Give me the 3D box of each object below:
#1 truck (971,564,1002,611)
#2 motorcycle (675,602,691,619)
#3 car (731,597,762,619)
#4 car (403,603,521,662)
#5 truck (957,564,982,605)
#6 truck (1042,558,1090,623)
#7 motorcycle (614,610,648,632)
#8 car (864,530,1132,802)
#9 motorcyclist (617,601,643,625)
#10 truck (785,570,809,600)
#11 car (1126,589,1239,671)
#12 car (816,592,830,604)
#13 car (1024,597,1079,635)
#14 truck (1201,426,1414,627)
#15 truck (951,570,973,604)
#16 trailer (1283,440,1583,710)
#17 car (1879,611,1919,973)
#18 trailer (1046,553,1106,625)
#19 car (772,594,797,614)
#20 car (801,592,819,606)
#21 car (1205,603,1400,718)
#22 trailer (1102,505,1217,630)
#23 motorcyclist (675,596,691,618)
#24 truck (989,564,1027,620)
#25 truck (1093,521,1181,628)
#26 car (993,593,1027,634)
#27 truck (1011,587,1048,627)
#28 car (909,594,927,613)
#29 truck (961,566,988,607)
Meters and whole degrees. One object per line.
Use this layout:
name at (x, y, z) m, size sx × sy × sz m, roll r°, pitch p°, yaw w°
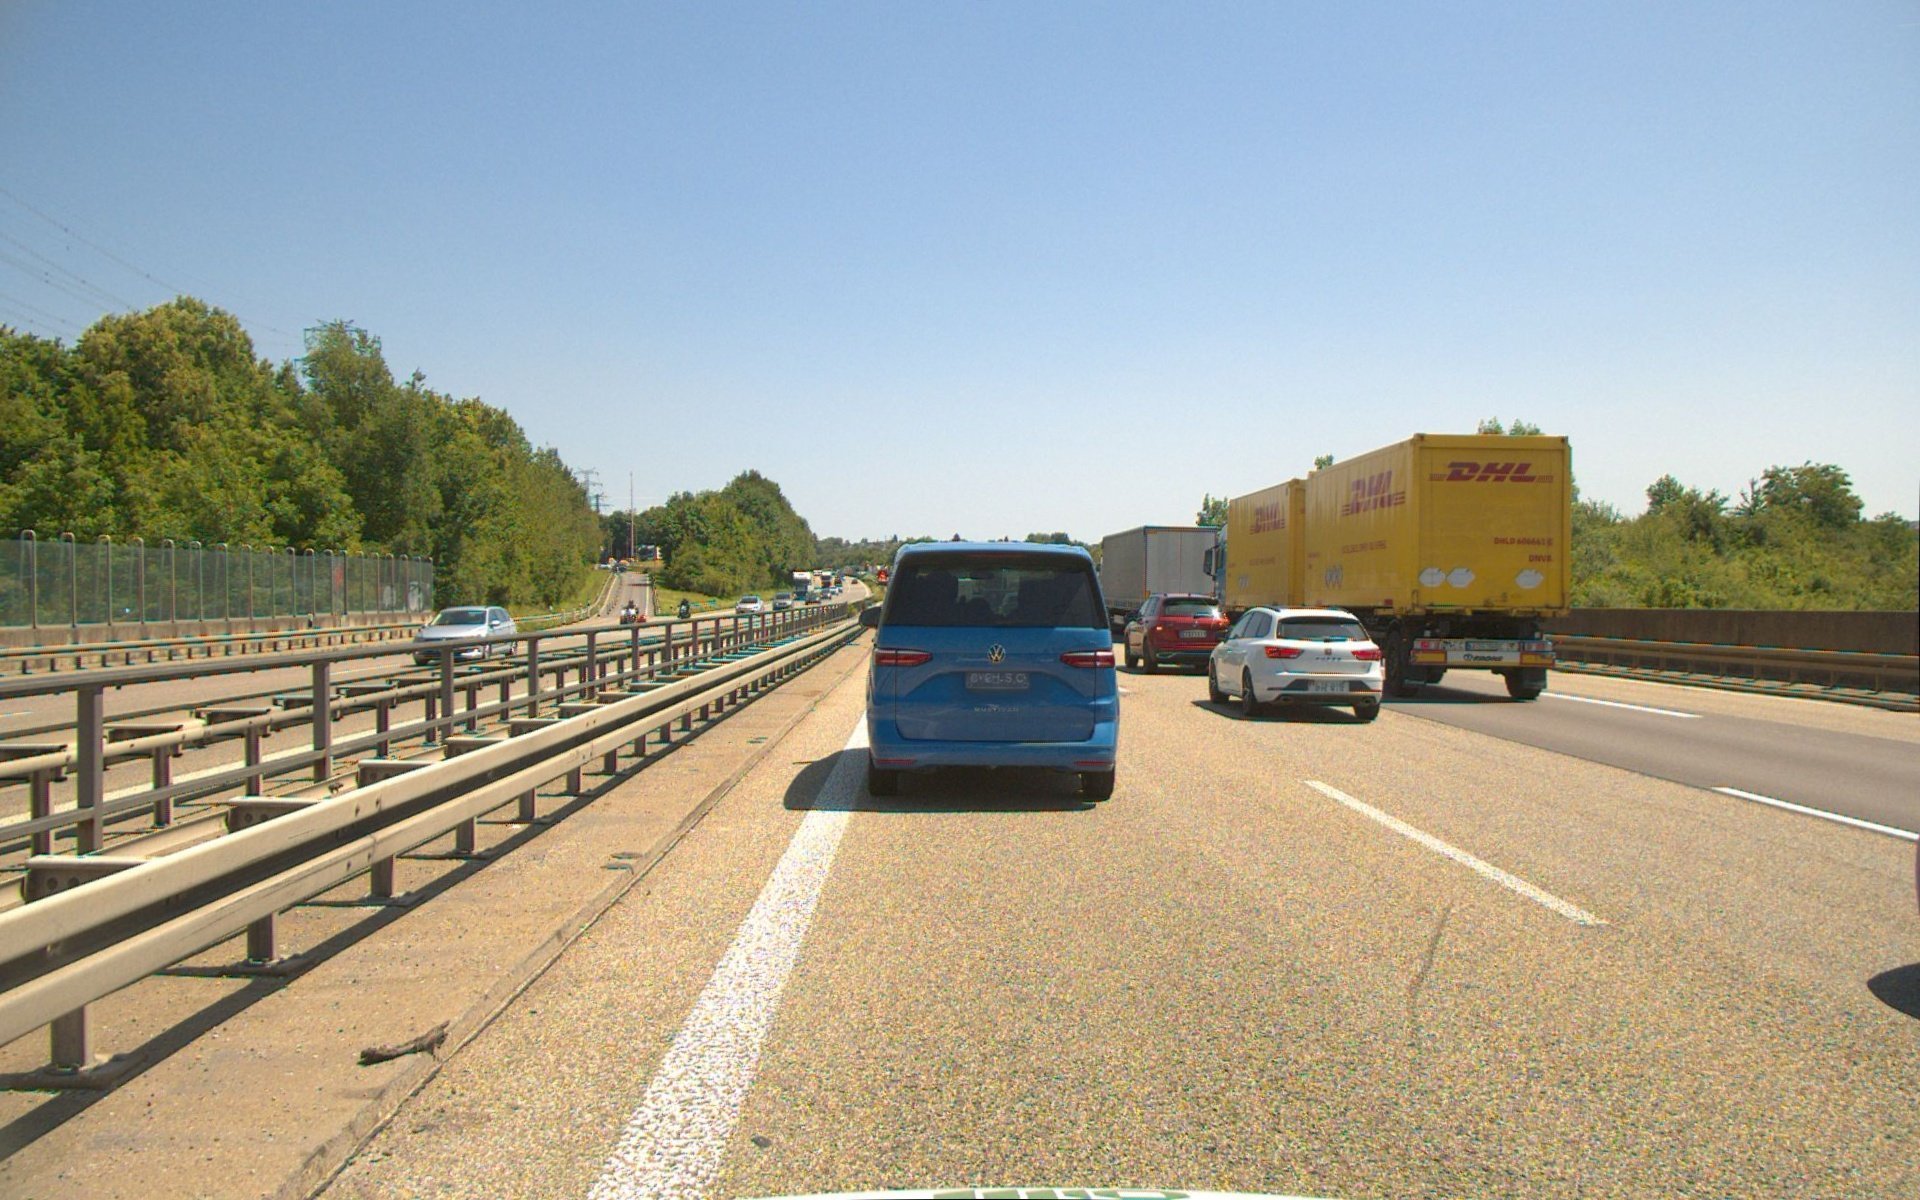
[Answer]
truck at (3.005, -1.381, 190.122) m, size 2.777 × 5.128 × 11.810 m, roll 1°, pitch -1°, yaw -2°
motorcycle at (-18.710, 0.678, 111.734) m, size 0.687 × 1.089 × 2.305 m, roll -1°, pitch 1°, yaw -1°
car at (-15.158, 0.596, 117.520) m, size 1.680 × 1.459 × 4.174 m, roll -2°, pitch 0°, yaw -1°
car at (-12.937, 0.840, 43.250) m, size 1.872 × 1.419 × 4.164 m, roll -1°, pitch -1°, yaw -1°
truck at (1.300, -2.076, 231.348) m, size 2.777 × 5.467 × 12.548 m, roll 1°, pitch -1°, yaw -2°
truck at (6.450, -0.515, 100.914) m, size 2.320 × 3.787 × 6.031 m, roll 1°, pitch -1°, yaw -1°
motorcycle at (-17.707, 1.113, 89.125) m, size 1.338 × 1.118 × 2.575 m, roll -2°, pitch 0°, yaw -1°
car at (0.241, 0.463, 13.500) m, size 1.844 × 1.869 × 3.999 m, roll 1°, pitch 0°, yaw -1°
motorcyclist at (-17.726, 0.697, 88.893) m, size 1.162 × 1.278 × 1.118 m, roll -2°, pitch 0°, yaw -1°
truck at (-24.416, -2.173, 247.535) m, size 2.929 × 4.354 × 7.186 m, roll -1°, pitch 0°, yaw -1°
car at (4.658, 0.609, 35.155) m, size 1.813 × 1.636 × 3.999 m, roll 0°, pitch 0°, yaw -1°
car at (-19.670, -0.284, 237.595) m, size 1.792 × 1.637 × 4.167 m, roll -1°, pitch 0°, yaw -1°
car at (3.606, 0.621, 65.906) m, size 1.801 × 1.438 × 3.998 m, roll 0°, pitch 0°, yaw -2°
truck at (8.010, -1.481, 39.682) m, size 2.667 × 4.125 × 10.333 m, roll 1°, pitch -1°, yaw -1°
truck at (0.226, -1.984, 255.010) m, size 2.777 × 5.128 × 12.906 m, roll -1°, pitch 0°, yaw -2°
trailer at (8.185, -0.338, 30.001) m, size 2.647 × 4.094 × 8.927 m, roll 1°, pitch -1°, yaw -1°
car at (4.762, 0.788, 4.766) m, size 1.675 × 1.465 × 4.499 m, roll 1°, pitch 0°, yaw -1°
trailer at (6.574, -0.534, 95.262) m, size 2.331 × 3.810 × 11.184 m, roll 1°, pitch -1°, yaw -1°
car at (-15.475, 0.362, 145.675) m, size 1.793 × 1.637 × 4.167 m, roll -3°, pitch 0°, yaw -2°
car at (-17.467, -0.127, 192.974) m, size 1.792 × 1.637 × 4.167 m, roll -2°, pitch 0°, yaw -2°
car at (4.571, 0.753, 22.678) m, size 1.745 × 1.411 × 4.187 m, roll 1°, pitch 0°, yaw -1°
trailer at (7.352, -1.058, 62.524) m, size 2.699 × 4.219 × 11.308 m, roll 1°, pitch -1°, yaw -1°
motorcyclist at (-18.698, 0.476, 111.708) m, size 0.880 × 1.466 × 1.082 m, roll -1°, pitch 1°, yaw -2°
truck at (4.604, -0.688, 160.276) m, size 2.777 × 5.128 × 11.140 m, roll 1°, pitch -1°, yaw -2°
truck at (7.262, -0.965, 68.662) m, size 2.712 × 4.167 × 6.982 m, roll 1°, pitch -1°, yaw -1°
car at (2.594, 0.729, 86.016) m, size 1.551 × 2.049 × 3.492 m, roll 1°, pitch -1°, yaw -1°
truck at (5.936, 0.647, 142.651) m, size 2.308 × 3.275 × 9.735 m, roll 1°, pitch -1°, yaw -2°
car at (-4.741, 0.378, 188.288) m, size 1.953 × 2.049 × 3.999 m, roll 1°, pitch -1°, yaw -1°
truck at (1.797, -1.706, 212.817) m, size 2.777 × 4.971 × 13.214 m, roll -1°, pitch 0°, yaw -2°
